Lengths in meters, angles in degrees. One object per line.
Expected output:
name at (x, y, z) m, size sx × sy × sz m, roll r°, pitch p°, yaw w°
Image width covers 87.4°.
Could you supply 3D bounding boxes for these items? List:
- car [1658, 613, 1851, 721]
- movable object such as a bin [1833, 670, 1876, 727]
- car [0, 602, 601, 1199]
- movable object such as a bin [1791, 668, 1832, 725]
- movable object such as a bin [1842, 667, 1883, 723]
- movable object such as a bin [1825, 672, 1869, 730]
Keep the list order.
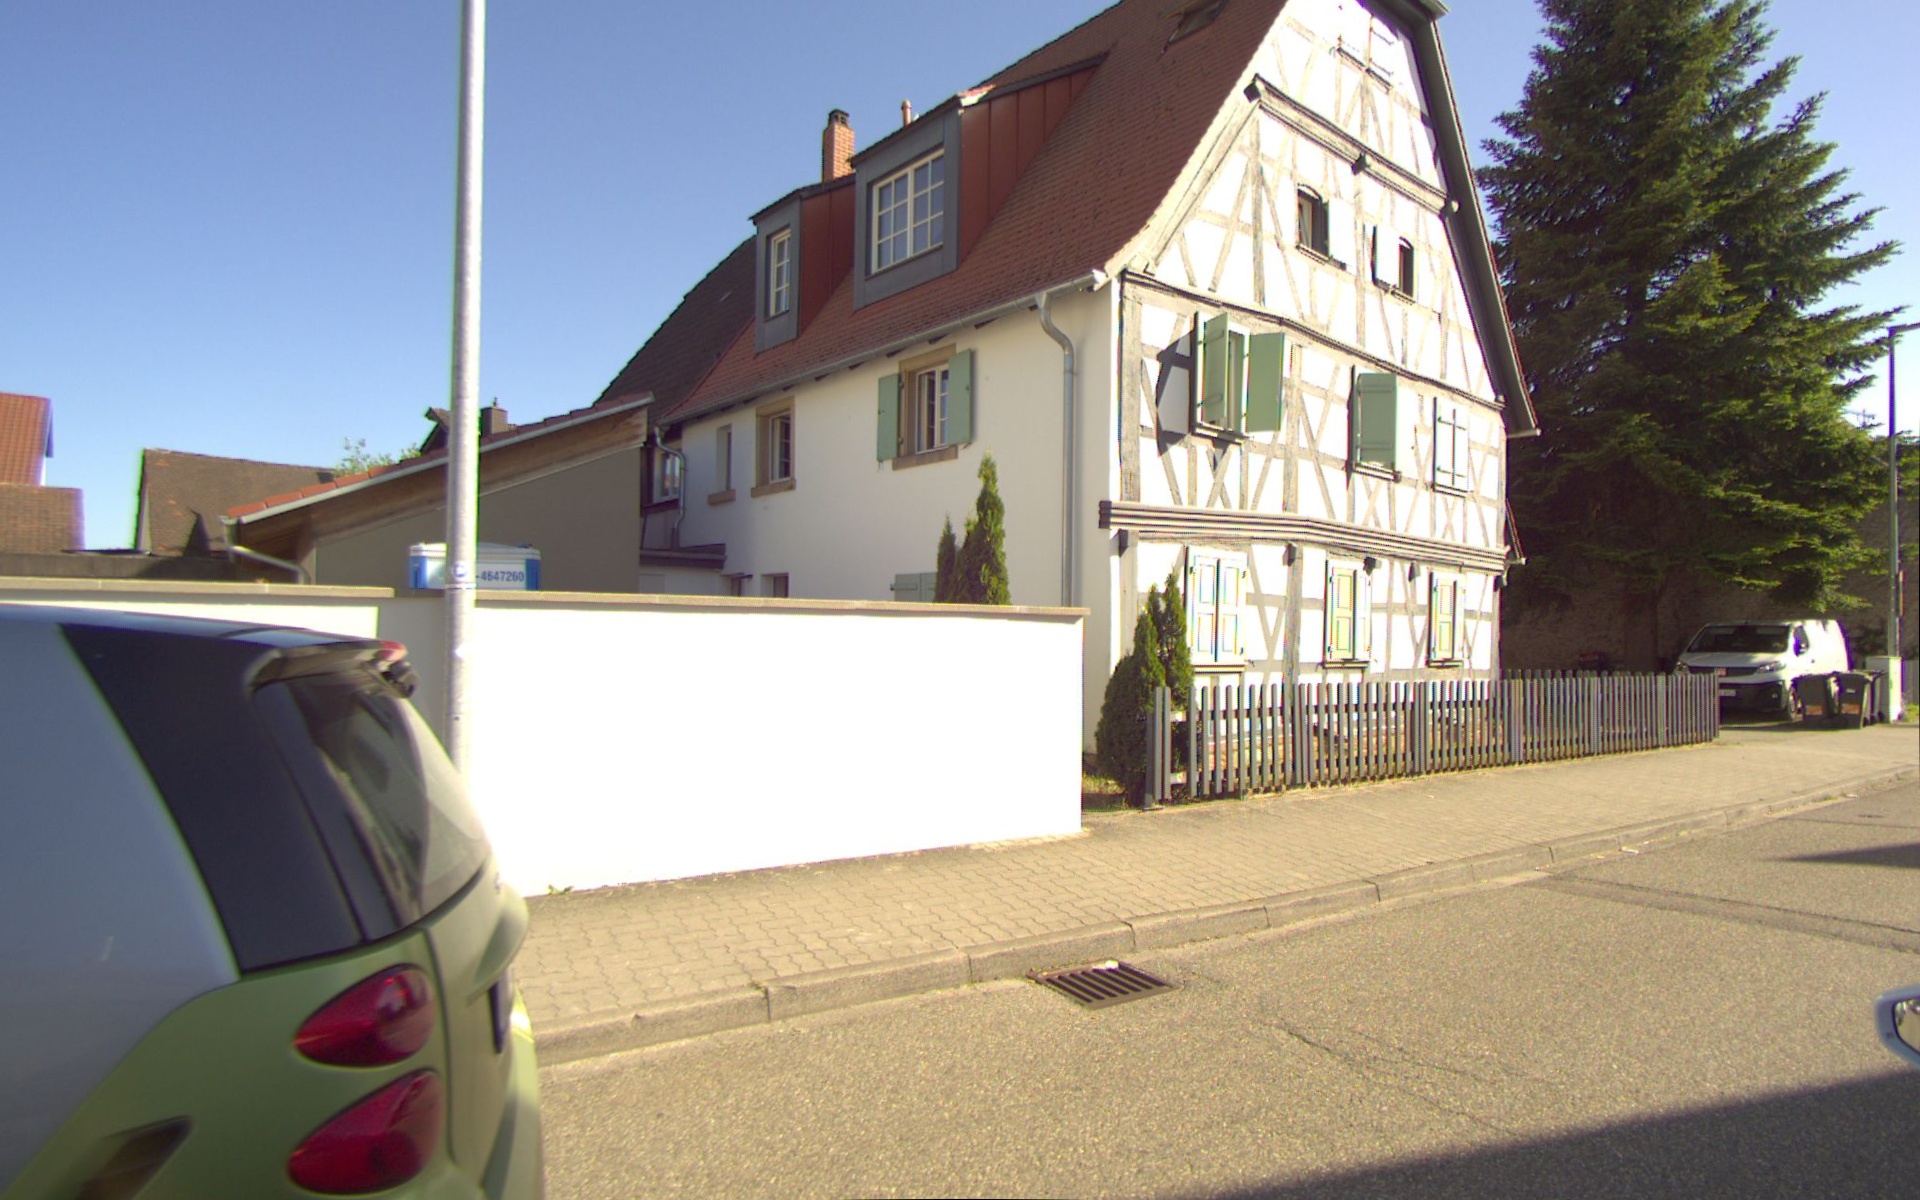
car at (16.515, 1.285, 20.786) m, size 5.095 × 1.981 × 1.926 m, roll 1°, pitch -2°, yaw -38°
movable object such as a bin at (15.547, 1.704, 17.455) m, size 0.486 × 0.936 × 0.425 m, roll -2°, pitch -1°, yaw -36°
car at (-2.090, 0.822, 1.424) m, size 2.922 × 1.566 × 1.571 m, roll 1°, pitch -3°, yaw -22°
movable object such as a bin at (14.808, 1.669, 17.468) m, size 0.486 × 0.936 × 0.417 m, roll -2°, pitch -1°, yaw -36°
movable object such as a bin at (15.950, 1.664, 17.755) m, size 0.486 × 0.936 × 0.417 m, roll -2°, pitch -1°, yaw -36°
movable object such as a bin at (15.151, 1.712, 17.160) m, size 0.486 × 0.936 × 0.437 m, roll -2°, pitch -1°, yaw -36°
